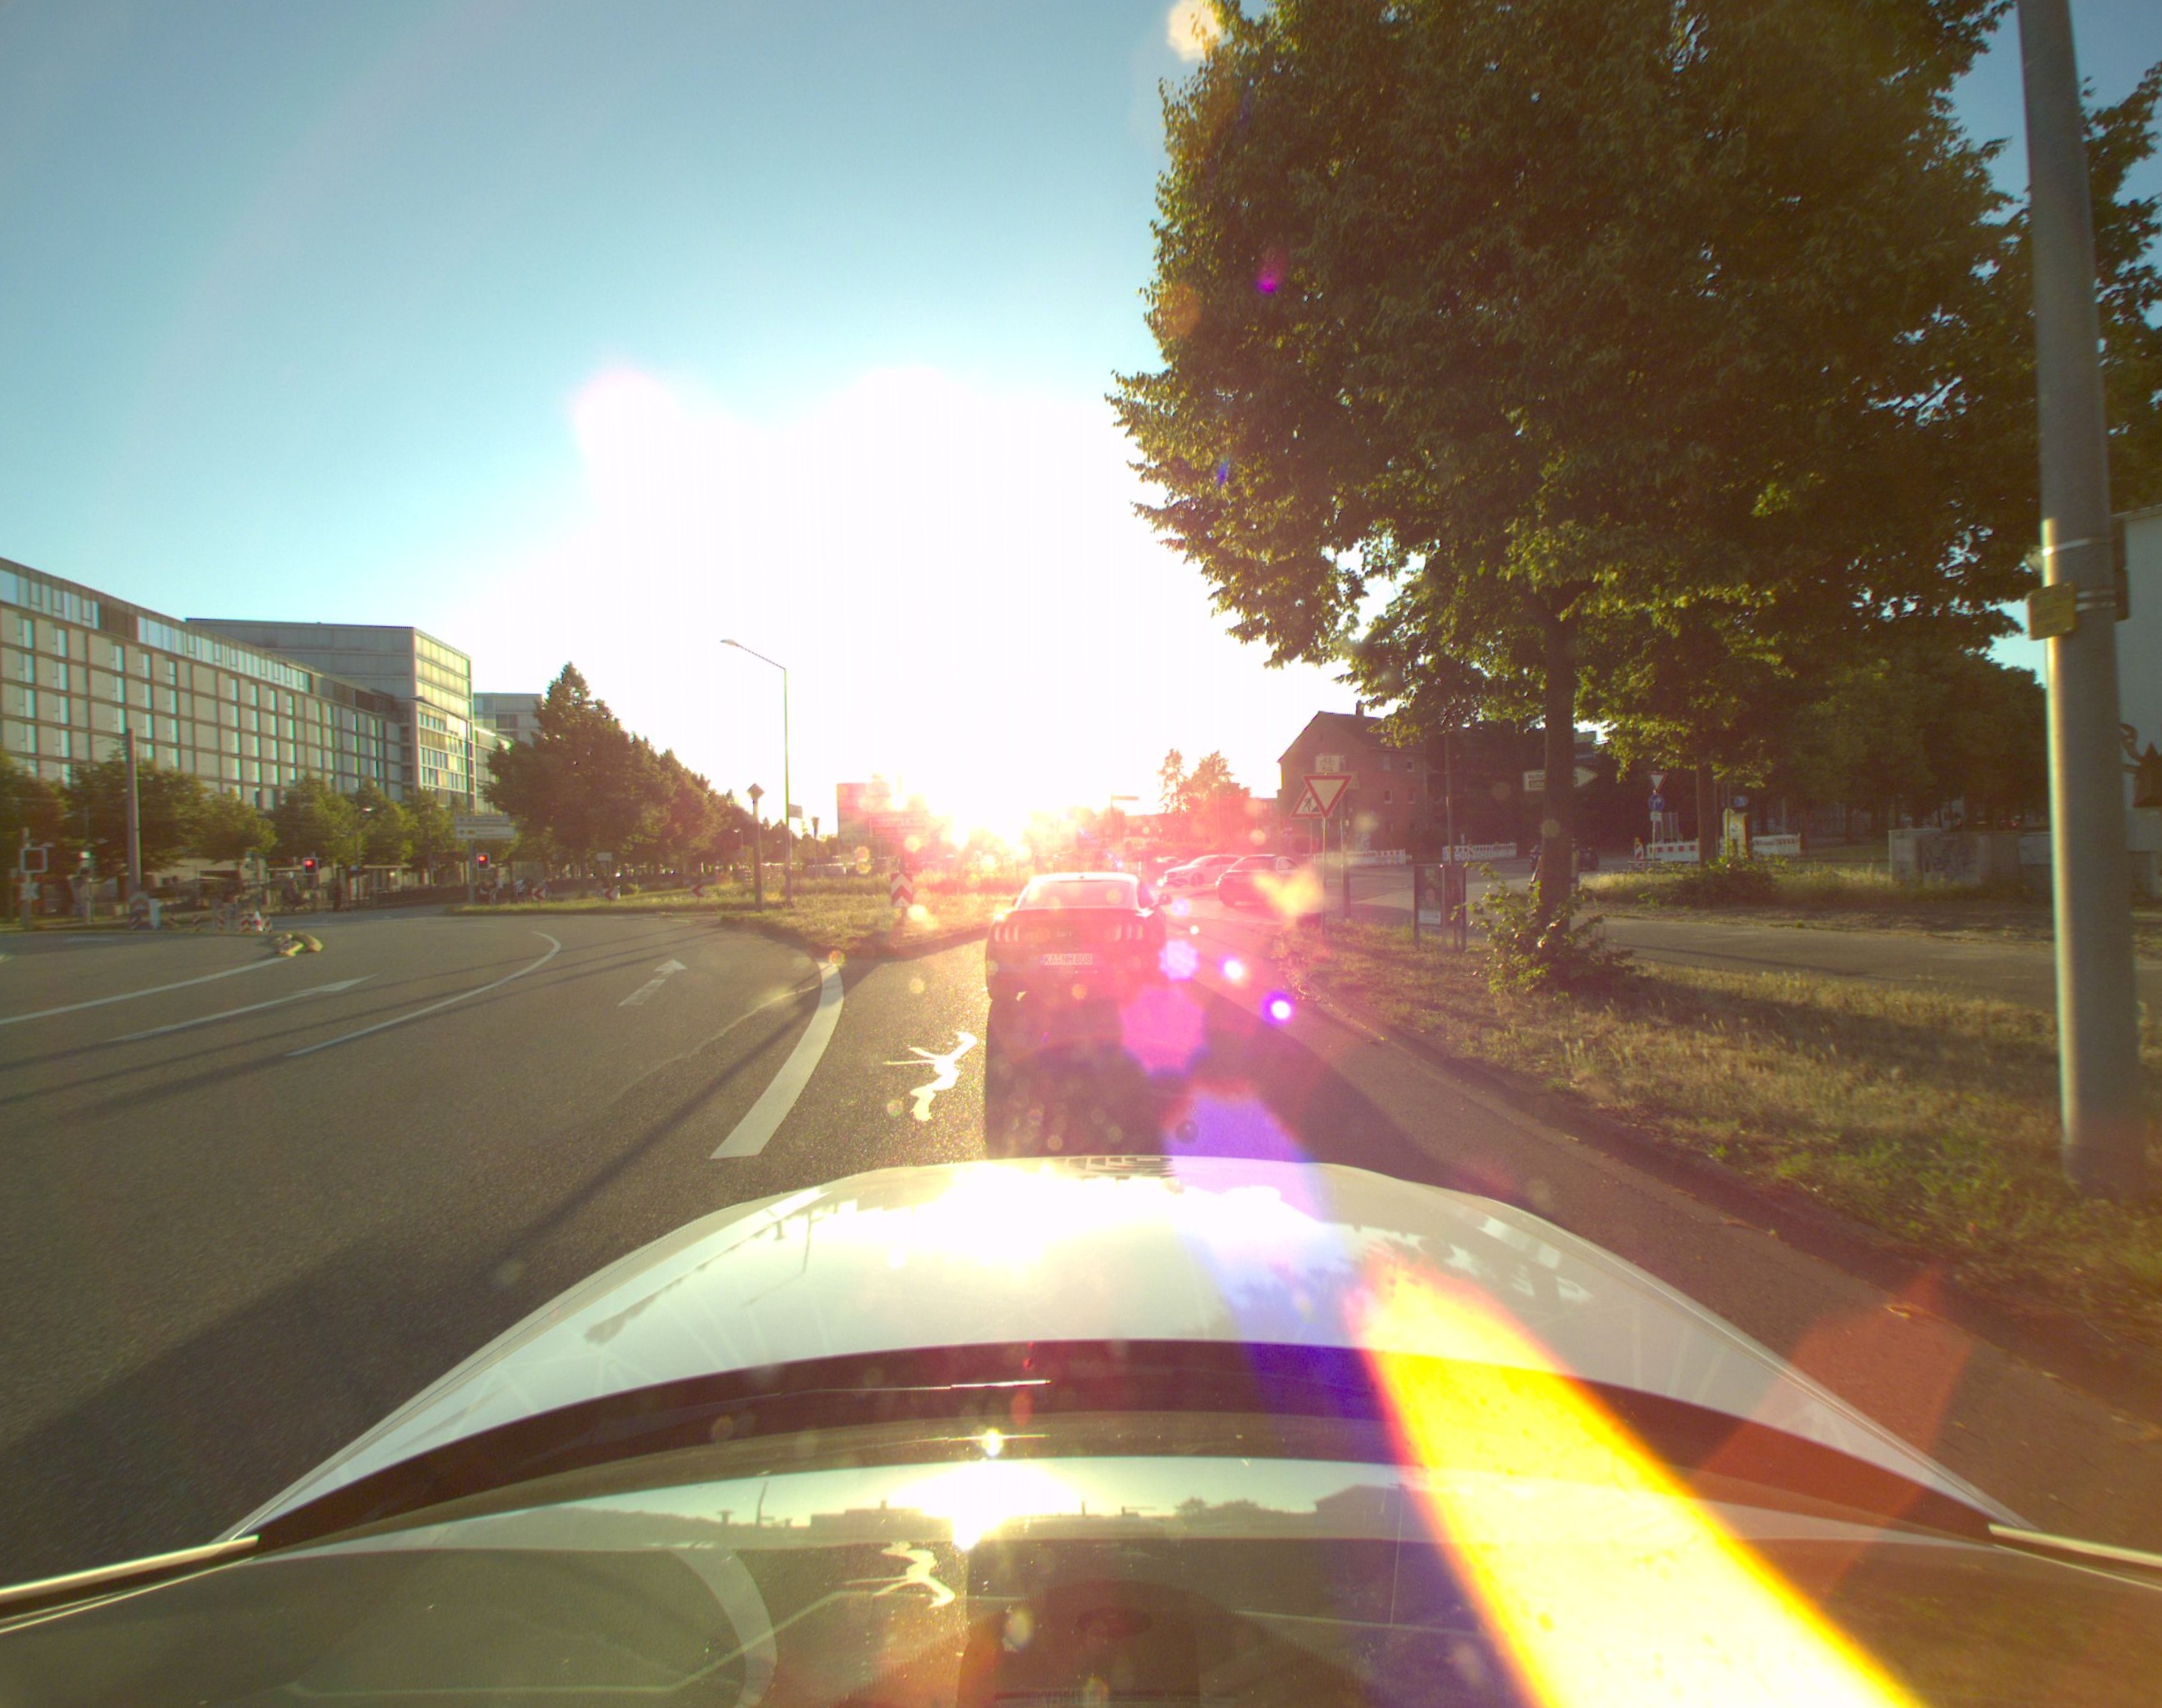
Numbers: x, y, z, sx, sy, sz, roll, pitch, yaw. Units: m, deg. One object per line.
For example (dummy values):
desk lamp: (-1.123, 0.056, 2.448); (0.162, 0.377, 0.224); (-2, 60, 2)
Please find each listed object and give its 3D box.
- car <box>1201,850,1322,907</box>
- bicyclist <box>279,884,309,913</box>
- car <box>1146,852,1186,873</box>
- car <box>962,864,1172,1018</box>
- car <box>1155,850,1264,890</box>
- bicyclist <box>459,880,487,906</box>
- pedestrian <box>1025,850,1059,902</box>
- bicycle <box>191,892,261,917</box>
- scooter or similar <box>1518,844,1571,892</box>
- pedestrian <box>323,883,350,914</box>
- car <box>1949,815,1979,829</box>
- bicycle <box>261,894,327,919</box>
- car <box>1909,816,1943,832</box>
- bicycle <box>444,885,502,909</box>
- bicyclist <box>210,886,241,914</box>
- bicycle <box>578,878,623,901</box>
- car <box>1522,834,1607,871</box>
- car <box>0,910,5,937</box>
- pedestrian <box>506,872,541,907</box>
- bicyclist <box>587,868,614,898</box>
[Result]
car: (5.464, 0.686, 24.193); (1.932, 1.427, 4.458); (-3, 0, 34)
bicyclist: (-42.981, 2.428, 44.477); (0.981, 1.525, 0.748); (-2, 0, -28)
car: (7.324, 0.755, 70.815); (1.999, 1.706, 3.976); (-2, 0, -17)
car: (0.092, 0.849, 9.971); (1.941, 1.342, 4.678); (-1, 0, 6)
car: (6.014, 0.721, 38.057); (4.666, 1.452, 2.057); (-4, 2, -26)
bicyclist: (-33.344, 2.133, 44.654); (0.976, 1.394, 0.751); (-2, 0, -12)
pedestrian: (-1.308, 0.745, 27.519); (0.847, 1.686, 0.880); (-2, 0, -22)
bicycle: (-45.409, 2.690, 43.285); (2.413, 1.167, 0.748); (-2, 0, -25)
scooter or similar: (12.435, 0.382, 21.870); (1.115, 1.238, 0.443); (-2, 0, 4)
pedestrian: (-43.301, 2.565, 47.378); (0.889, 1.707, 0.789); (-2, 0, -22)
car: (106.825, -3.874, 98.515); (4.094, 1.602, 1.937); (-2, 0, -34)
bicycle: (-42.935, 2.862, 44.470); (2.415, 1.167, 0.748); (-2, 0, -28)
car: (87.867, -3.092, 84.690); (4.096, 1.602, 1.936); (-2, 0, -37)
bicycle: (-33.348, 2.359, 44.672); (2.403, 1.167, 0.751); (-2, 0, -12)
bicyclist: (-45.480, 2.433, 43.321); (0.881, 1.392, 0.748); (-2, 0, -25)
bicycle: (-26.698, 1.993, 45.289); (2.382, 1.167, 0.758); (-2, 0, 19)
car: (24.001, -0.087, 40.383); (4.092, 1.602, 1.938); (-4, 2, -32)
car: (-63.920, 4.082, 45.287); (1.996, 1.544, 5.179); (-2, 0, -13)
pedestrian: (-30.625, 1.951, 44.725); (1.152, 1.827, 0.981); (-2, 0, 7)
bicyclist: (-26.702, 1.604, 45.270); (0.966, 1.612, 0.758); (-2, 0, 19)
